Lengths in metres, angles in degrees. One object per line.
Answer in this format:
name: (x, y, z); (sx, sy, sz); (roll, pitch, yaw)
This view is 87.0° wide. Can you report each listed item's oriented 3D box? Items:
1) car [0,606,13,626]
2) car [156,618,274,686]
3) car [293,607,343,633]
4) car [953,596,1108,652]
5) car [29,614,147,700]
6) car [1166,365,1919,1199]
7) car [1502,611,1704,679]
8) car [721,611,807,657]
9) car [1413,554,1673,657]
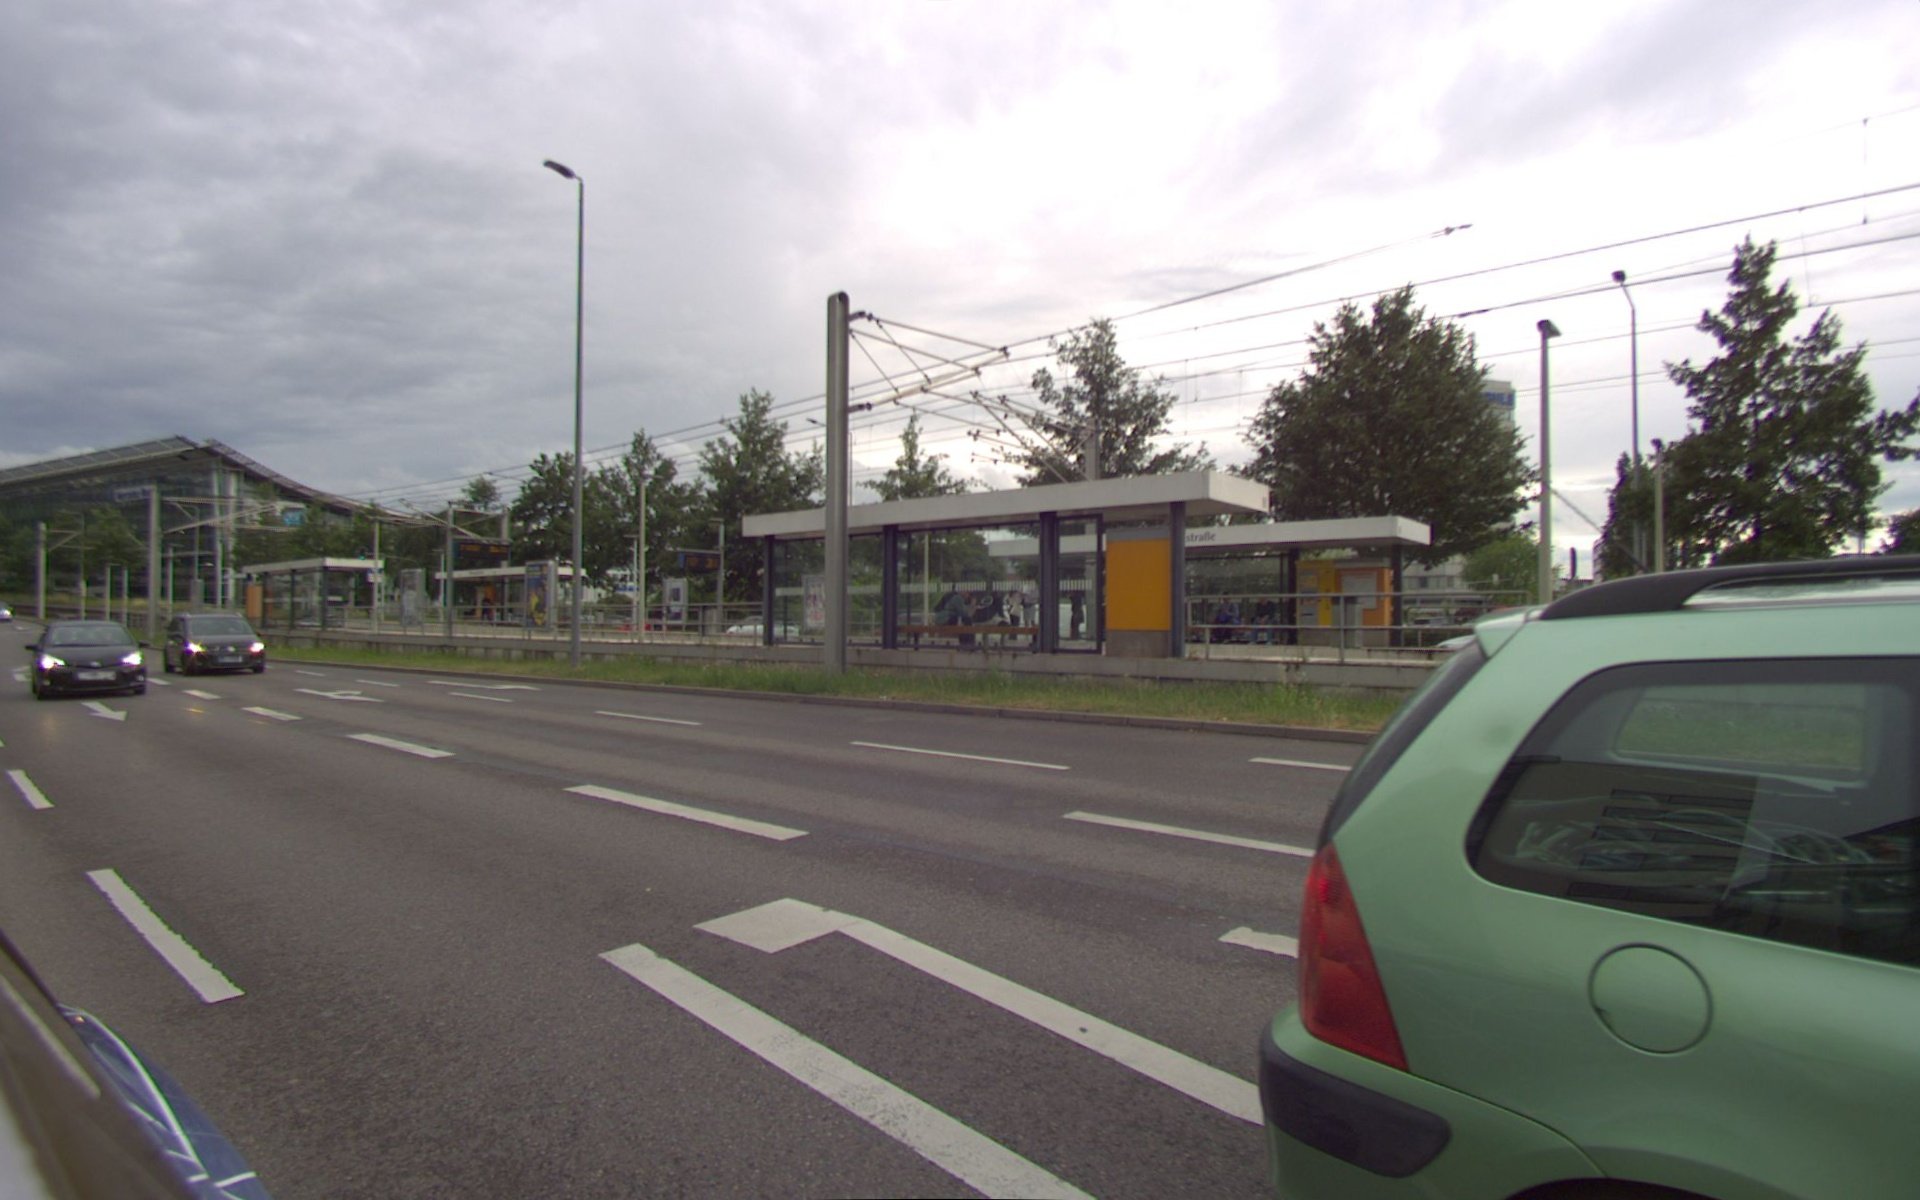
car: (-75.168, 1.274, 78.759); (3.997, 1.489, 1.718); (-1, 0, 40)
car: (-20.185, 1.330, 27.352); (4.191, 1.604, 1.709); (0, 1, 41)
car: (-48.015, 1.481, 75.697); (3.996, 1.861, 1.974); (0, 1, 39)
car: (2.309, 0.757, 34.166); (5.025, 1.744, 1.974); (0, 1, 39)
car: (-17.822, 1.157, 20.637); (1.672, 1.534, 3.908); (-1, -2, -43)
car: (2.594, 0.442, 1.076); (4.400, 1.479, 1.677); (0, 1, 40)
car: (18.325, 1.209, 28.957); (4.662, 1.712, 2.083); (0, 1, 40)
car: (-9.354, 1.556, 48.241); (3.998, 2.029, 1.973); (0, 1, 41)
car: (13.895, 0.101, 24.326); (5.142, 2.231, 1.973); (0, 1, 42)
